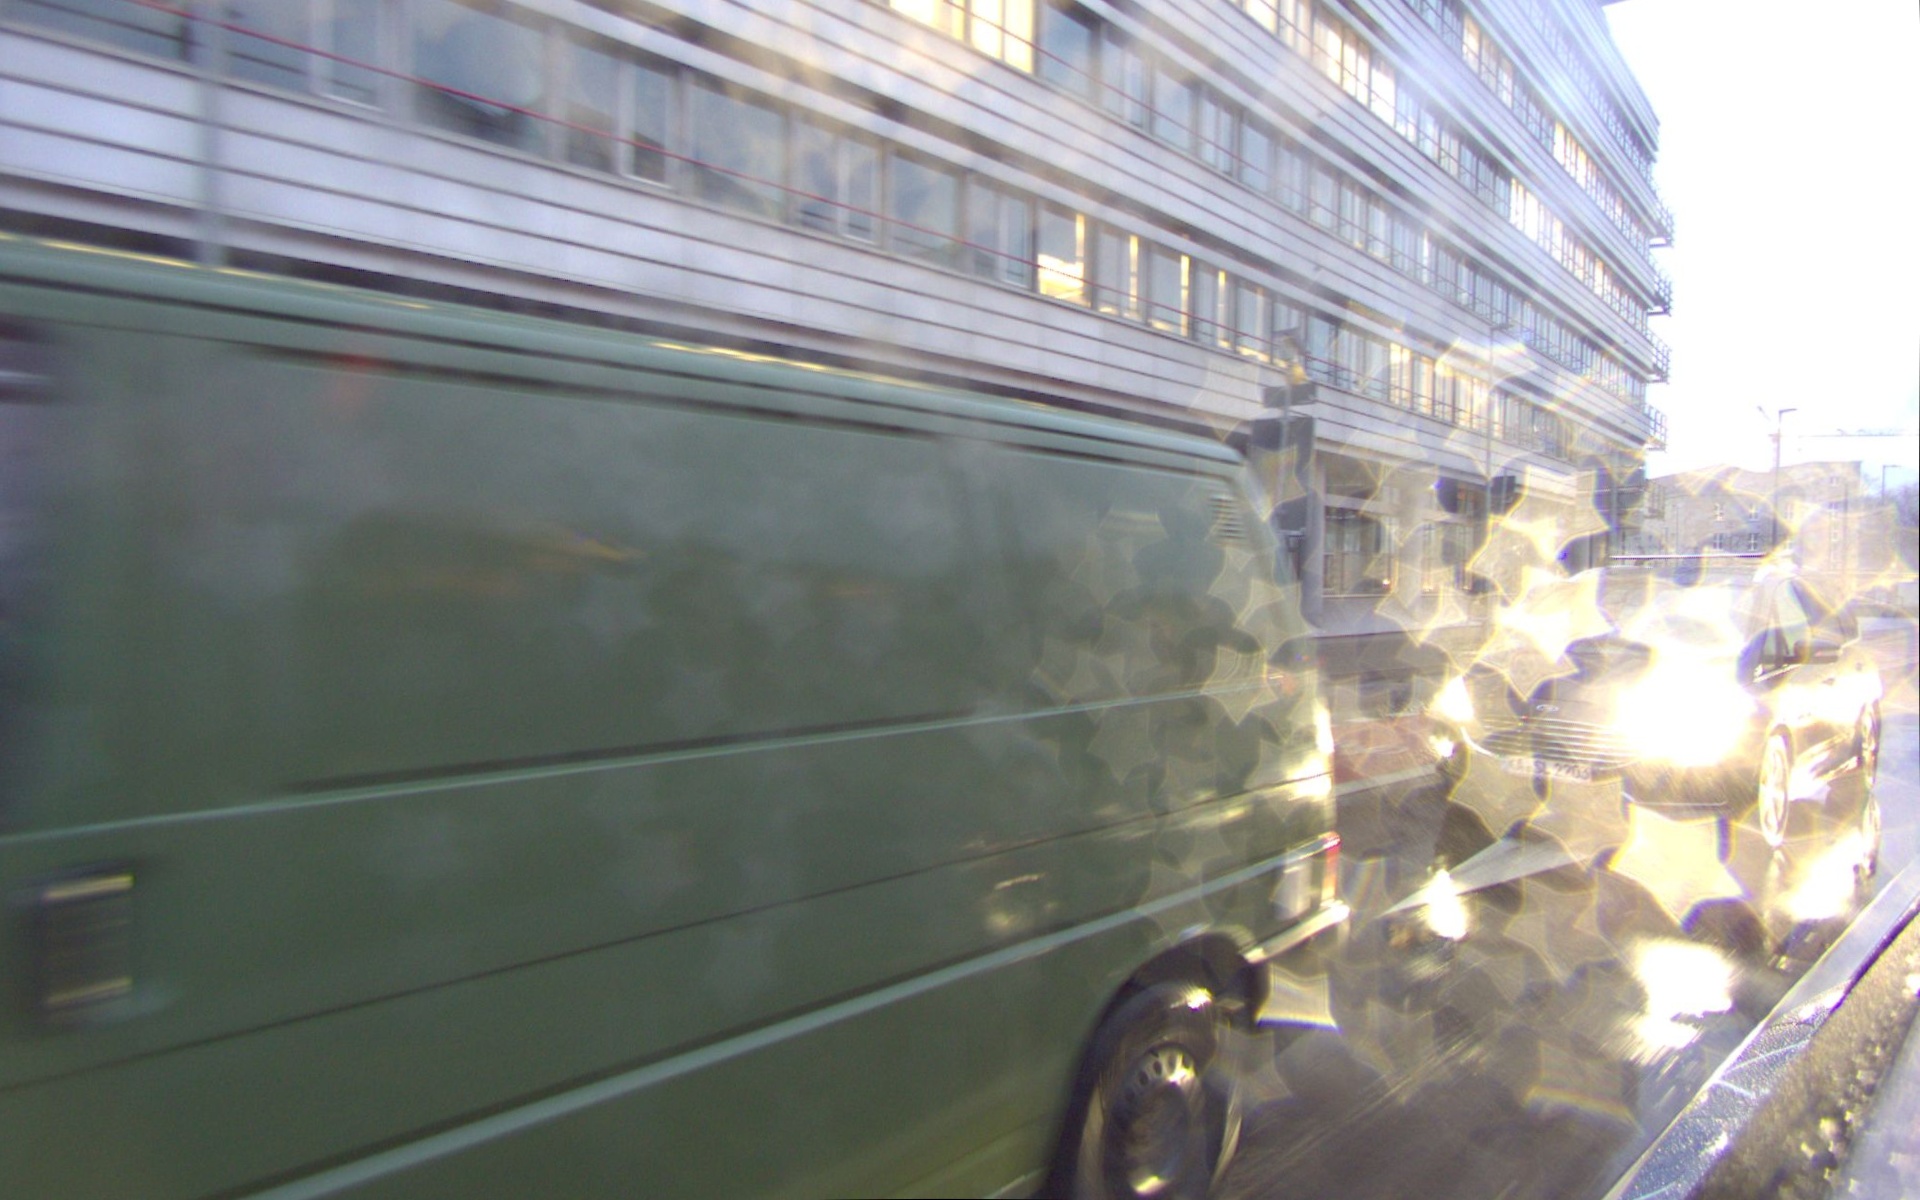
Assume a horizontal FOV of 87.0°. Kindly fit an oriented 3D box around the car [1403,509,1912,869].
[{"bbox_3d":[5.283,0.430,7.397,4.605,1.842,1.908,-1,0,-40],"label":"car"}]

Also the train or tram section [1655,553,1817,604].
[{"bbox_3d":[79.643,-2.165,104.435,3.661,4.995,13.414,-1,1,-19],"label":"train or tram section"}]

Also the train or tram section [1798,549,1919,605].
[{"bbox_3d":[85.416,-2.065,92.408,3.663,4.921,13.405,-1,1,-27],"label":"train or tram section"}]

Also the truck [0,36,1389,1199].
[{"bbox_3d":[-1.225,0.446,1.887,4.535,1.941,1.908,-1,0,-40],"label":"truck"}]

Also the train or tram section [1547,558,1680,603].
[{"bbox_3d":[75.185,-2.196,117.024,3.661,4.862,13.414,-1,1,-19],"label":"train or tram section"}]
